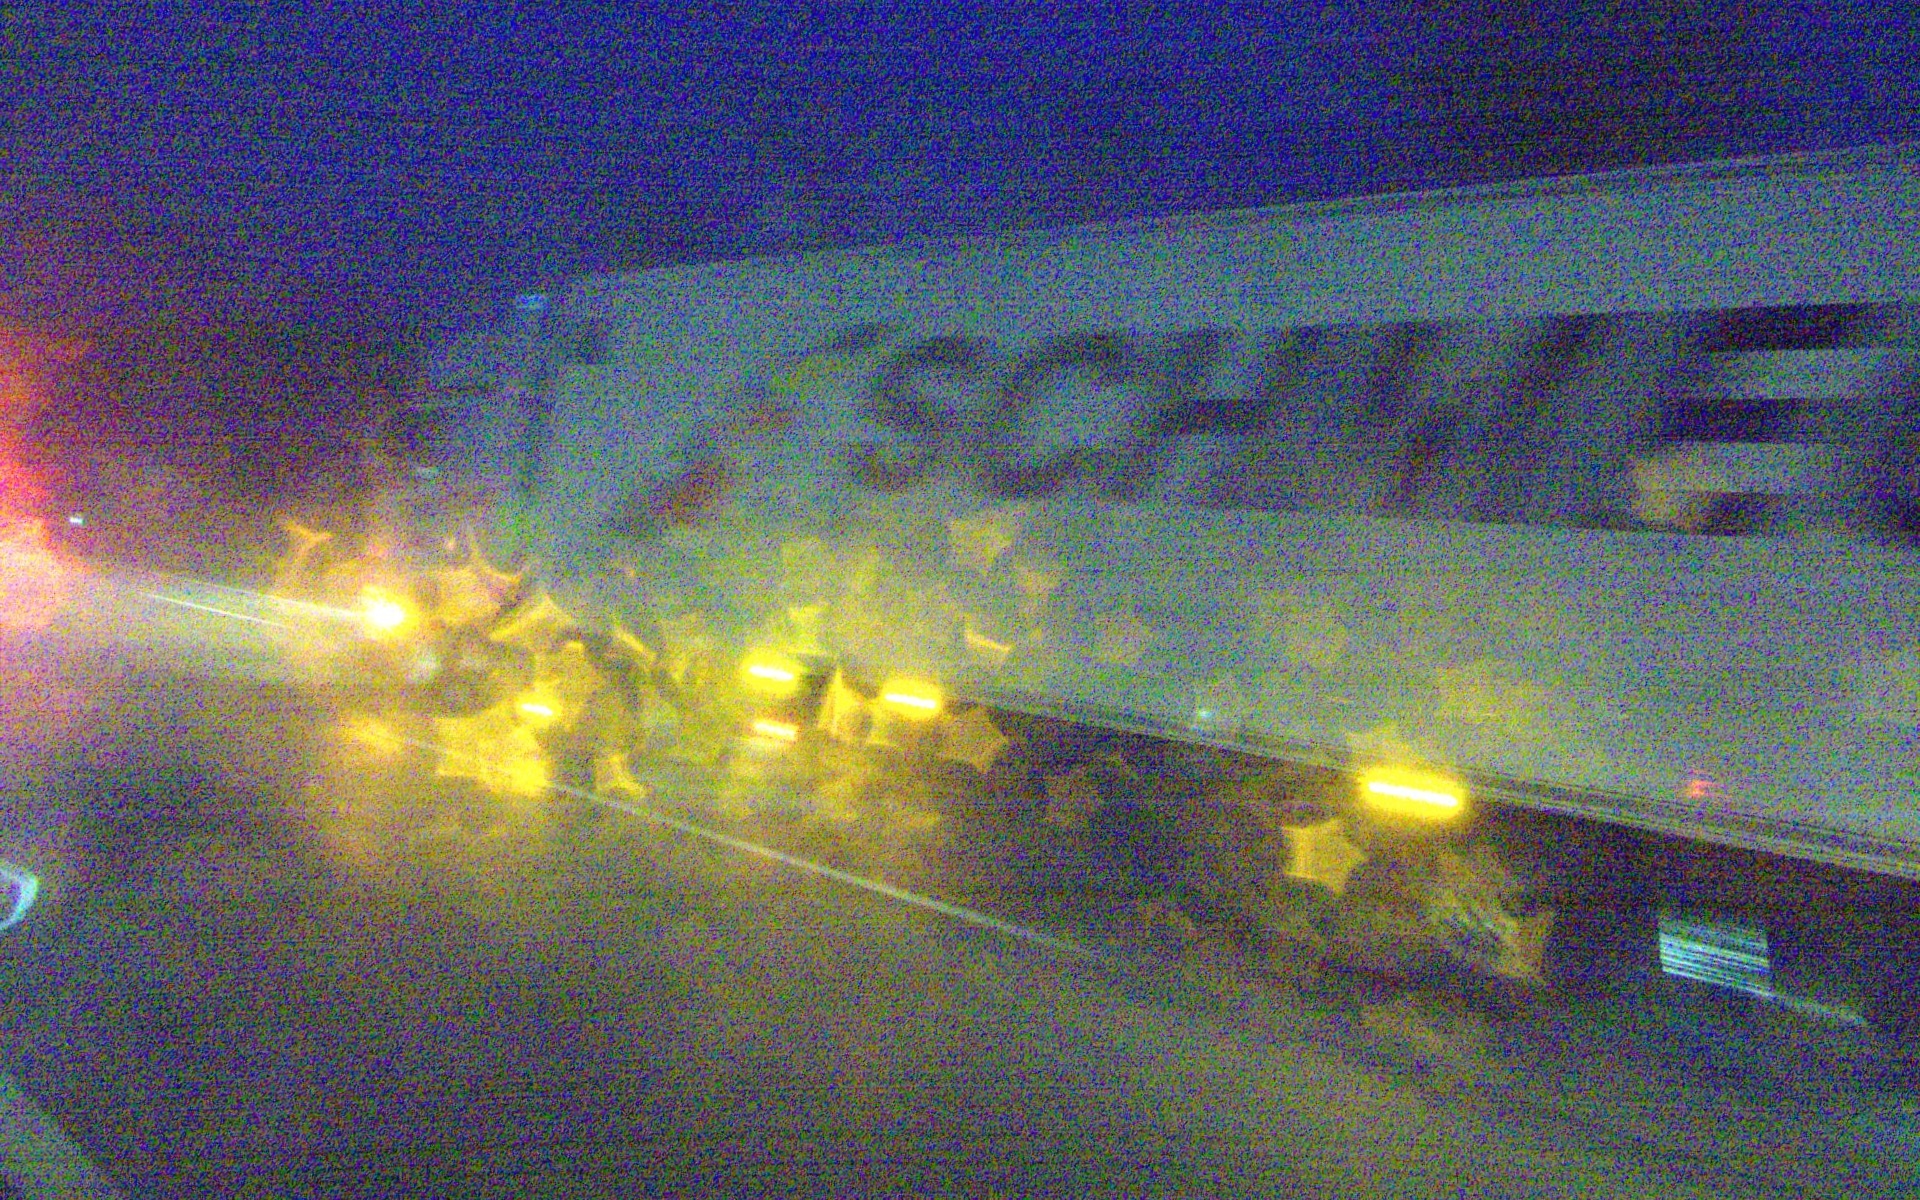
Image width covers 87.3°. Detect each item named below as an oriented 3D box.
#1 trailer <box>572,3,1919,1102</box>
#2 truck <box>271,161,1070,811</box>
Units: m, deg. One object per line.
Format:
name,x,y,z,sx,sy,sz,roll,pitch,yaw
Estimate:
trailer,2.955,-0.281,6.011,11.895,4.262,2.809,7,-1,32
truck,-3.089,-0.983,9.754,7.324,4.317,2.809,7,-1,32
